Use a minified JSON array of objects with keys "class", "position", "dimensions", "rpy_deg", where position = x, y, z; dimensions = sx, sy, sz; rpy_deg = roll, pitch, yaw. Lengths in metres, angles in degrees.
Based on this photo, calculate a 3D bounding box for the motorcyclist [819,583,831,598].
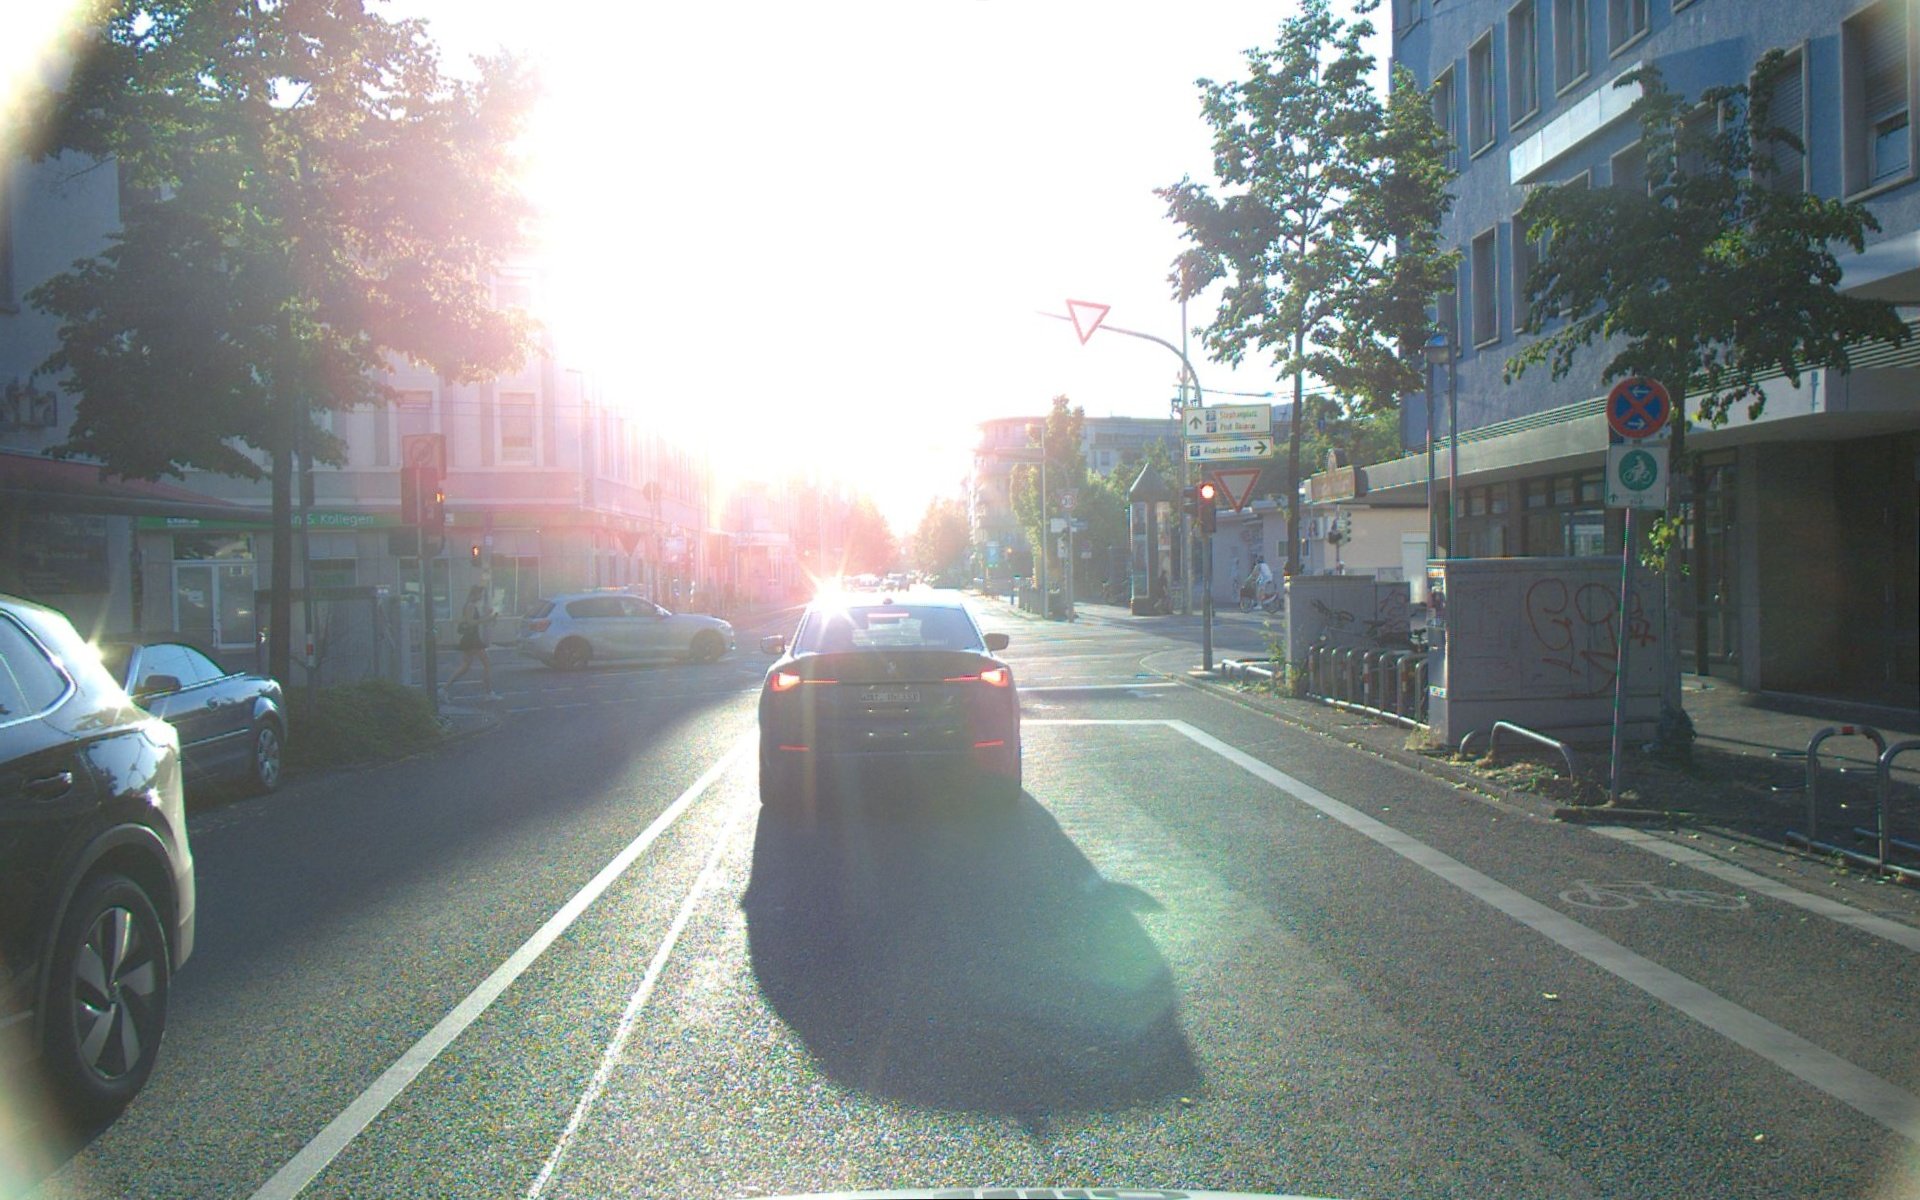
[{"class":"motorcyclist","position":[-8.308,-0.587,101.984],"dimensions":[0.563,0.931,2.200],"rpy_deg":[0,1,-1]}]

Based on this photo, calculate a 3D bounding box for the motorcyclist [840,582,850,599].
[{"class":"motorcyclist","position":[-7.022,-0.571,101.365],"dimensions":[0.563,1.013,0.702],"rpy_deg":[0,0,-1]}]

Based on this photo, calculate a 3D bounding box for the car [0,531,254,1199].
[{"class":"car","position":[-3.264,0.715,3.550],"dimensions":[1.695,1.704,4.294],"rpy_deg":[-2,1,-2]}]

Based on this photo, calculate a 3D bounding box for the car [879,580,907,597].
[{"class":"car","position":[-6.427,-1.150,159.381],"dimensions":[1.779,1.545,4.004],"rpy_deg":[-1,1,10]}]

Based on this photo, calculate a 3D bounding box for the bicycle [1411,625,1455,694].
[{"class":"bicycle","position":[5.929,0.739,20.764],"dimensions":[0.244,0.810,1.115],"rpy_deg":[0,0,0]}]

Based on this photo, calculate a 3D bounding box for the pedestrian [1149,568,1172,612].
[{"class":"pedestrian","position":[7.131,-0.365,58.897],"dimensions":[0.719,1.555,0.472],"rpy_deg":[0,0,-8]}]

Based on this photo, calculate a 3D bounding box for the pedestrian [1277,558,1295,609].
[{"class":"pedestrian","position":[11.508,-0.583,58.340],"dimensions":[0.436,1.765,0.430],"rpy_deg":[0,0,-26]}]

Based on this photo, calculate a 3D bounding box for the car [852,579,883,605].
[{"class":"car","position":[-5.690,-0.508,102.061],"dimensions":[1.781,1.545,3.999],"rpy_deg":[-2,1,-1]}]

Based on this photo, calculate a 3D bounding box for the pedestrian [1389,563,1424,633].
[{"class":"pedestrian","position":[12.016,-0.057,44.465],"dimensions":[0.818,1.874,0.679],"rpy_deg":[-1,1,20]}]

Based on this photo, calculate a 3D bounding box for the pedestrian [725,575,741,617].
[{"class":"pedestrian","position":[-10.266,-0.183,74.739],"dimensions":[0.663,1.909,0.617],"rpy_deg":[0,0,-2]}]

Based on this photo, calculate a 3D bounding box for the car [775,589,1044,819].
[{"class":"car","position":[-0.408,0.644,12.649],"dimensions":[1.702,1.453,4.222],"rpy_deg":[0,0,-3]}]

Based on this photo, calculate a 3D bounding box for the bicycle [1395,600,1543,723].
[{"class":"bicycle","position":[5.253,0.629,17.106],"dimensions":[1.411,1.241,0.383],"rpy_deg":[0,0,0]}]

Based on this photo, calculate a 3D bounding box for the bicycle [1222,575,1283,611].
[{"class":"bicycle","position":[9.929,-0.232,56.151],"dimensions":[0.548,1.179,2.109],"rpy_deg":[0,0,-45]}]

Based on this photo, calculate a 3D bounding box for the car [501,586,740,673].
[{"class":"car","position":[-6.707,0.532,32.670],"dimensions":[4.256,1.524,1.983],"rpy_deg":[-2,1,-27]}]

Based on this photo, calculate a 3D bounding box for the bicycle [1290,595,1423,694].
[{"class":"bicycle","position":[4.974,0.555,20.793],"dimensions":[1.580,1.191,0.318],"rpy_deg":[-1,1,0]}]

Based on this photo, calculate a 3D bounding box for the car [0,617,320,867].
[{"class":"car","position":[-6.366,0.926,12.186],"dimensions":[1.688,1.440,4.279],"rpy_deg":[-3,0,-2]}]

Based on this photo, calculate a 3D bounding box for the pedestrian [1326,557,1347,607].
[{"class":"pedestrian","position":[13.217,-0.629,58.055],"dimensions":[0.473,1.765,0.527],"rpy_deg":[0,0,-26]}]

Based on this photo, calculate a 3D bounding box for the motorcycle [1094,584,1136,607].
[{"class":"motorcycle","position":[6.879,-0.202,73.351],"dimensions":[1.640,0.955,0.853],"rpy_deg":[-2,1,-13]}]

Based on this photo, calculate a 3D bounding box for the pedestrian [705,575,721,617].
[{"class":"pedestrian","position":[-11.141,-0.187,74.509],"dimensions":[0.630,1.909,0.632],"rpy_deg":[0,0,-2]}]

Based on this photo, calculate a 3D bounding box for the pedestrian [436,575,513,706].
[{"class":"pedestrian","position":[-7.299,0.591,24.878],"dimensions":[0.987,1.893,0.636],"rpy_deg":[-3,1,-22]}]

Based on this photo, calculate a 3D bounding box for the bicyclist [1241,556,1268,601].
[{"class":"bicyclist","position":[9.991,-0.736,56.086],"dimensions":[0.710,1.507,0.548],"rpy_deg":[0,0,45]}]

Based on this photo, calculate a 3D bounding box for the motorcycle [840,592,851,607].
[{"class":"motorcycle","position":[-7.012,-0.032,101.479],"dimensions":[0.563,0.931,2.200],"rpy_deg":[0,1,-1]}]
